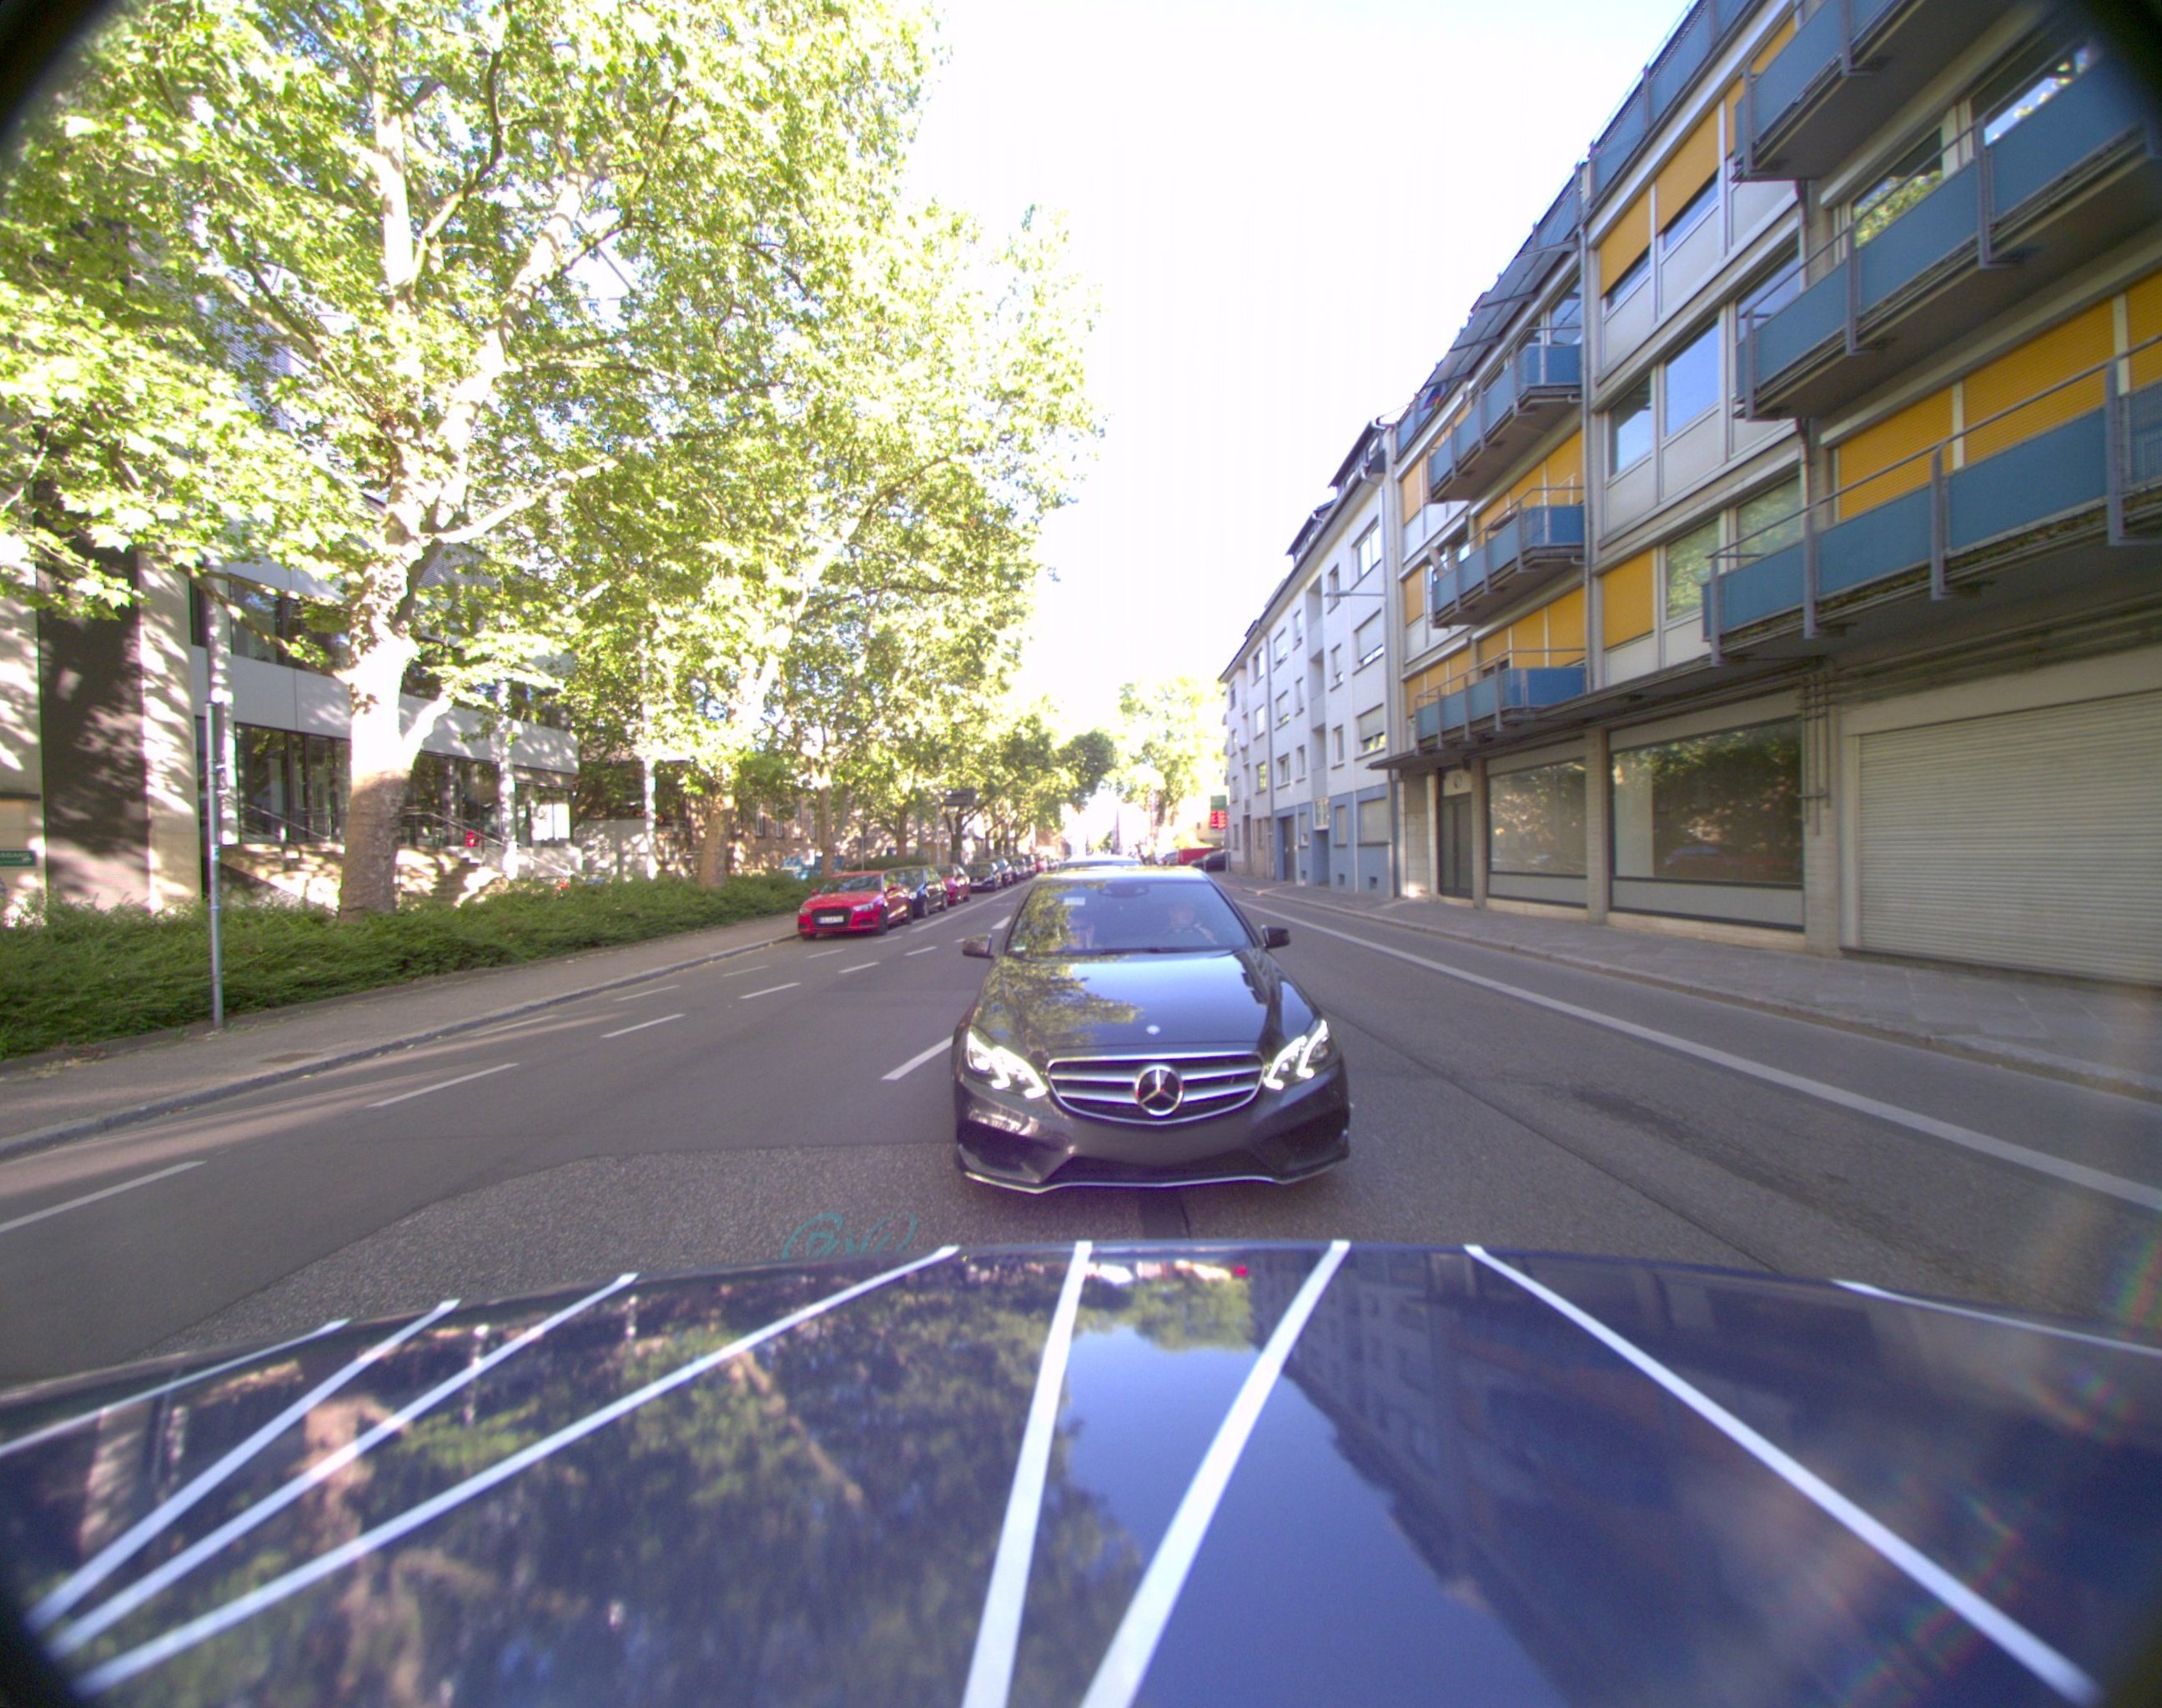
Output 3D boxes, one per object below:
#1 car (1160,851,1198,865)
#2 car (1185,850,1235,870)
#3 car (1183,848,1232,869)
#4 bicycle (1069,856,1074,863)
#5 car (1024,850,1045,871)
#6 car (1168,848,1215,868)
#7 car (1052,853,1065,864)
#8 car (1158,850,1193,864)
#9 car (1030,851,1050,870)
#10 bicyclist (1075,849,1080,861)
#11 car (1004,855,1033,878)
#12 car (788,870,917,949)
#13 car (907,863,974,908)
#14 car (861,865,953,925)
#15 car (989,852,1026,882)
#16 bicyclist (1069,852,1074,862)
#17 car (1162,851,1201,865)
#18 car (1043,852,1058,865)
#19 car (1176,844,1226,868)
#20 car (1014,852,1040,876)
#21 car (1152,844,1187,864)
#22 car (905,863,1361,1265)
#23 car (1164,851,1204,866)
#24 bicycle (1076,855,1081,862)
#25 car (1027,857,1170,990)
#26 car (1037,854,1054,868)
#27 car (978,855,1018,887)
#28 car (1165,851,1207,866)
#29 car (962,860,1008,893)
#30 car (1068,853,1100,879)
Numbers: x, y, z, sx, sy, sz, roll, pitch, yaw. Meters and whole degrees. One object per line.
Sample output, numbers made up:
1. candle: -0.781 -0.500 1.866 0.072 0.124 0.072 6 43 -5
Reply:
1. car: 10.530 0.397 82.129 3.905 1.325 1.525 -2 1 2
2. car: 9.960 0.454 58.729 3.598 1.401 1.534 -2 0 2
3. car: 10.129 0.354 61.134 3.668 1.501 1.602 -2 1 2
4. bicycle: -1.366 0.796 111.719 0.667 1.093 1.814 -2 1 0
5. car: -4.251 0.589 70.225 1.646 1.839 3.836 -2 0 0
6. car: 9.716 0.327 66.773 3.905 1.577 1.603 -2 1 2
7. car: -3.127 0.649 106.827 1.686 1.475 3.836 -2 0 0
8. car: 10.542 0.329 84.814 3.782 1.432 1.539 -2 1 2
9. car: -4.097 0.635 76.017 1.686 1.749 3.836 -2 0 0
10. bicyclist: -0.501 0.111 115.424 0.756 1.714 0.768 -2 1 -1
11. car: -4.425 0.875 54.512 1.686 1.552 3.868 -2 0 0
12. car: -5.131 1.190 17.659 1.724 1.412 4.030 -4 0 -1
13. car: -5.009 1.094 27.603 1.666 1.426 3.781 -2 0 0
14. car: -5.012 1.129 22.418 1.686 1.458 4.000 -3 0 0
15. car: -4.594 0.772 48.188 1.819 1.758 4.431 -2 0 0
16. bicyclist: -1.407 0.467 111.697 0.756 1.512 0.768 -2 1 -1
17. car: 10.521 0.424 79.741 3.905 1.325 1.525 -2 1 2
18. car: -3.789 0.597 95.685 1.686 1.546 3.836 -2 0 0
19. car: 10.075 0.162 63.978 3.905 1.895 1.749 -2 1 2
20. car: -4.217 0.753 59.368 1.663 1.704 3.836 -2 0 0
21. car: 10.402 0.021 89.307 3.905 2.164 1.725 -2 1 2
22. car: 0.213 0.895 5.282 1.828 1.495 4.293 -2 1 0
23. car: 10.405 0.425 76.986 3.905 1.366 1.594 -2 1 2
24. bicycle: -0.421 0.685 115.453 0.667 1.093 1.814 -2 1 0
25. car: 0.205 0.880 11.657 1.732 1.538 4.293 -2 1 0
26. car: -4.051 0.745 87.062 1.639 1.493 3.752 -2 0 0
27. car: -4.537 0.908 42.062 1.686 1.610 3.836 -2 0 0
28. car: 10.373 0.449 74.964 3.905 1.366 1.594 -2 1 2
29. car: -4.665 1.048 37.403 1.686 1.443 4.000 -2 0 0
30. car: 0.230 0.703 48.161 1.693 1.432 3.902 -3 1 3
